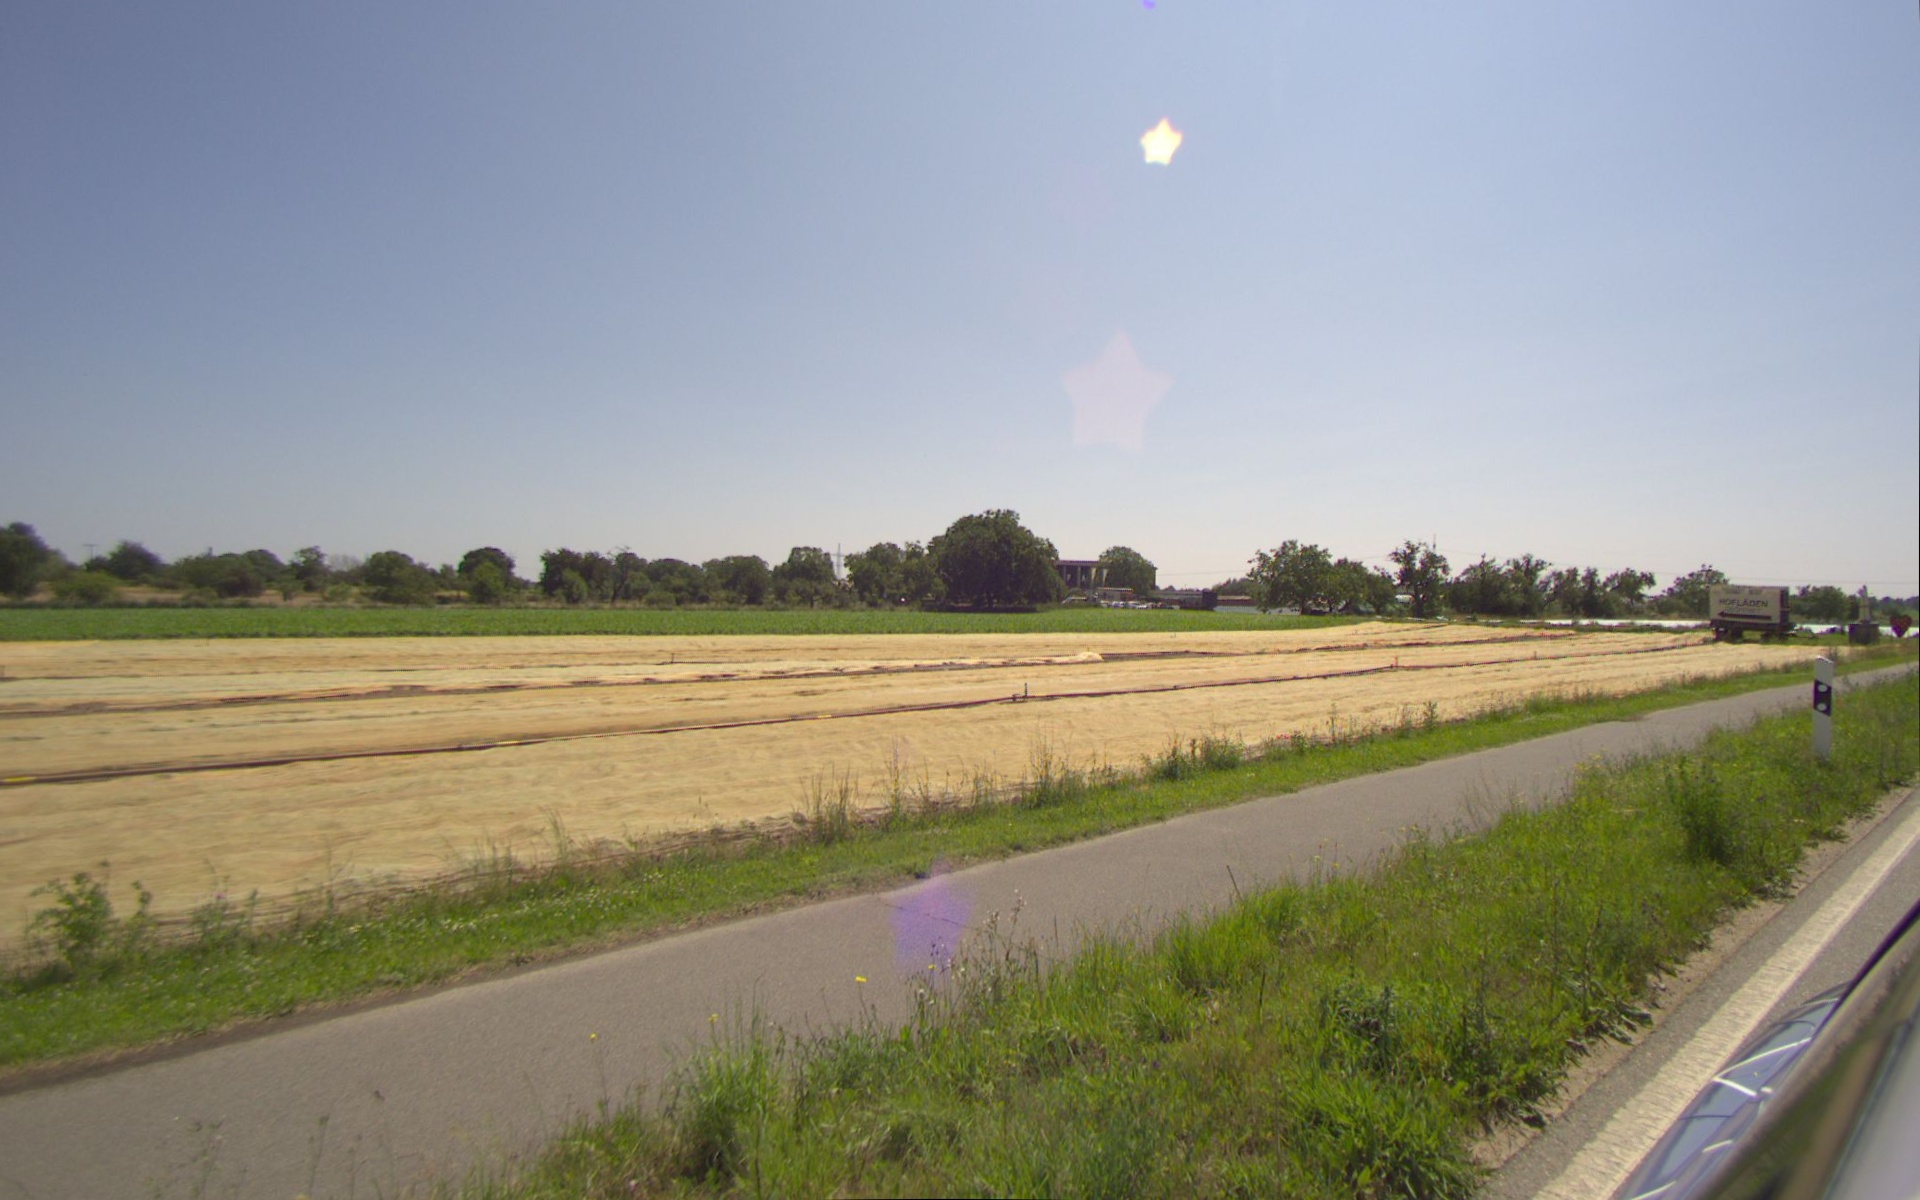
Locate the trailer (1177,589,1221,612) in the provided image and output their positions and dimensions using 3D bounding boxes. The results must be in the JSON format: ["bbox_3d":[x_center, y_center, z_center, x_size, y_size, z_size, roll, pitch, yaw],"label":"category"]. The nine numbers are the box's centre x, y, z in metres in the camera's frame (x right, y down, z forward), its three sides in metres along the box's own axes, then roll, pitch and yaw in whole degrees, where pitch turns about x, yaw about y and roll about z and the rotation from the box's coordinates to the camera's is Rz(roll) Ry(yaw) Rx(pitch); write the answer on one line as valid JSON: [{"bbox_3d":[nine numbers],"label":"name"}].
[{"bbox_3d":[35.562,0.137,150.809,3.191,3.335,7.456,0,0,-16],"label":"trailer"}]

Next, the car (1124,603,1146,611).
[{"bbox_3d":[26.698,1.038,154.201,3.212,1.213,1.298,1,0,-25],"label":"car"}]

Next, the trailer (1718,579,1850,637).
[{"bbox_3d":[44.700,0.347,55.096,1.958,2.988,5.307,-1,1,-21],"label":"trailer"}]

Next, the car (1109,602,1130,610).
[{"bbox_3d":[25.233,0.922,160.052,3.212,1.213,1.298,1,0,-25],"label":"car"}]

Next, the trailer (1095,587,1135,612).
[{"bbox_3d":[27.132,-0.147,177.937,3.094,4.275,7.449,0,0,-28],"label":"trailer"}]

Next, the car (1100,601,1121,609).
[{"bbox_3d":[24.177,0.863,162.752,3.212,1.213,1.298,1,0,-25],"label":"car"}]

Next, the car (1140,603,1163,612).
[{"bbox_3d":[28.788,1.107,152.080,3.212,1.213,1.298,1,0,-25],"label":"car"}]
